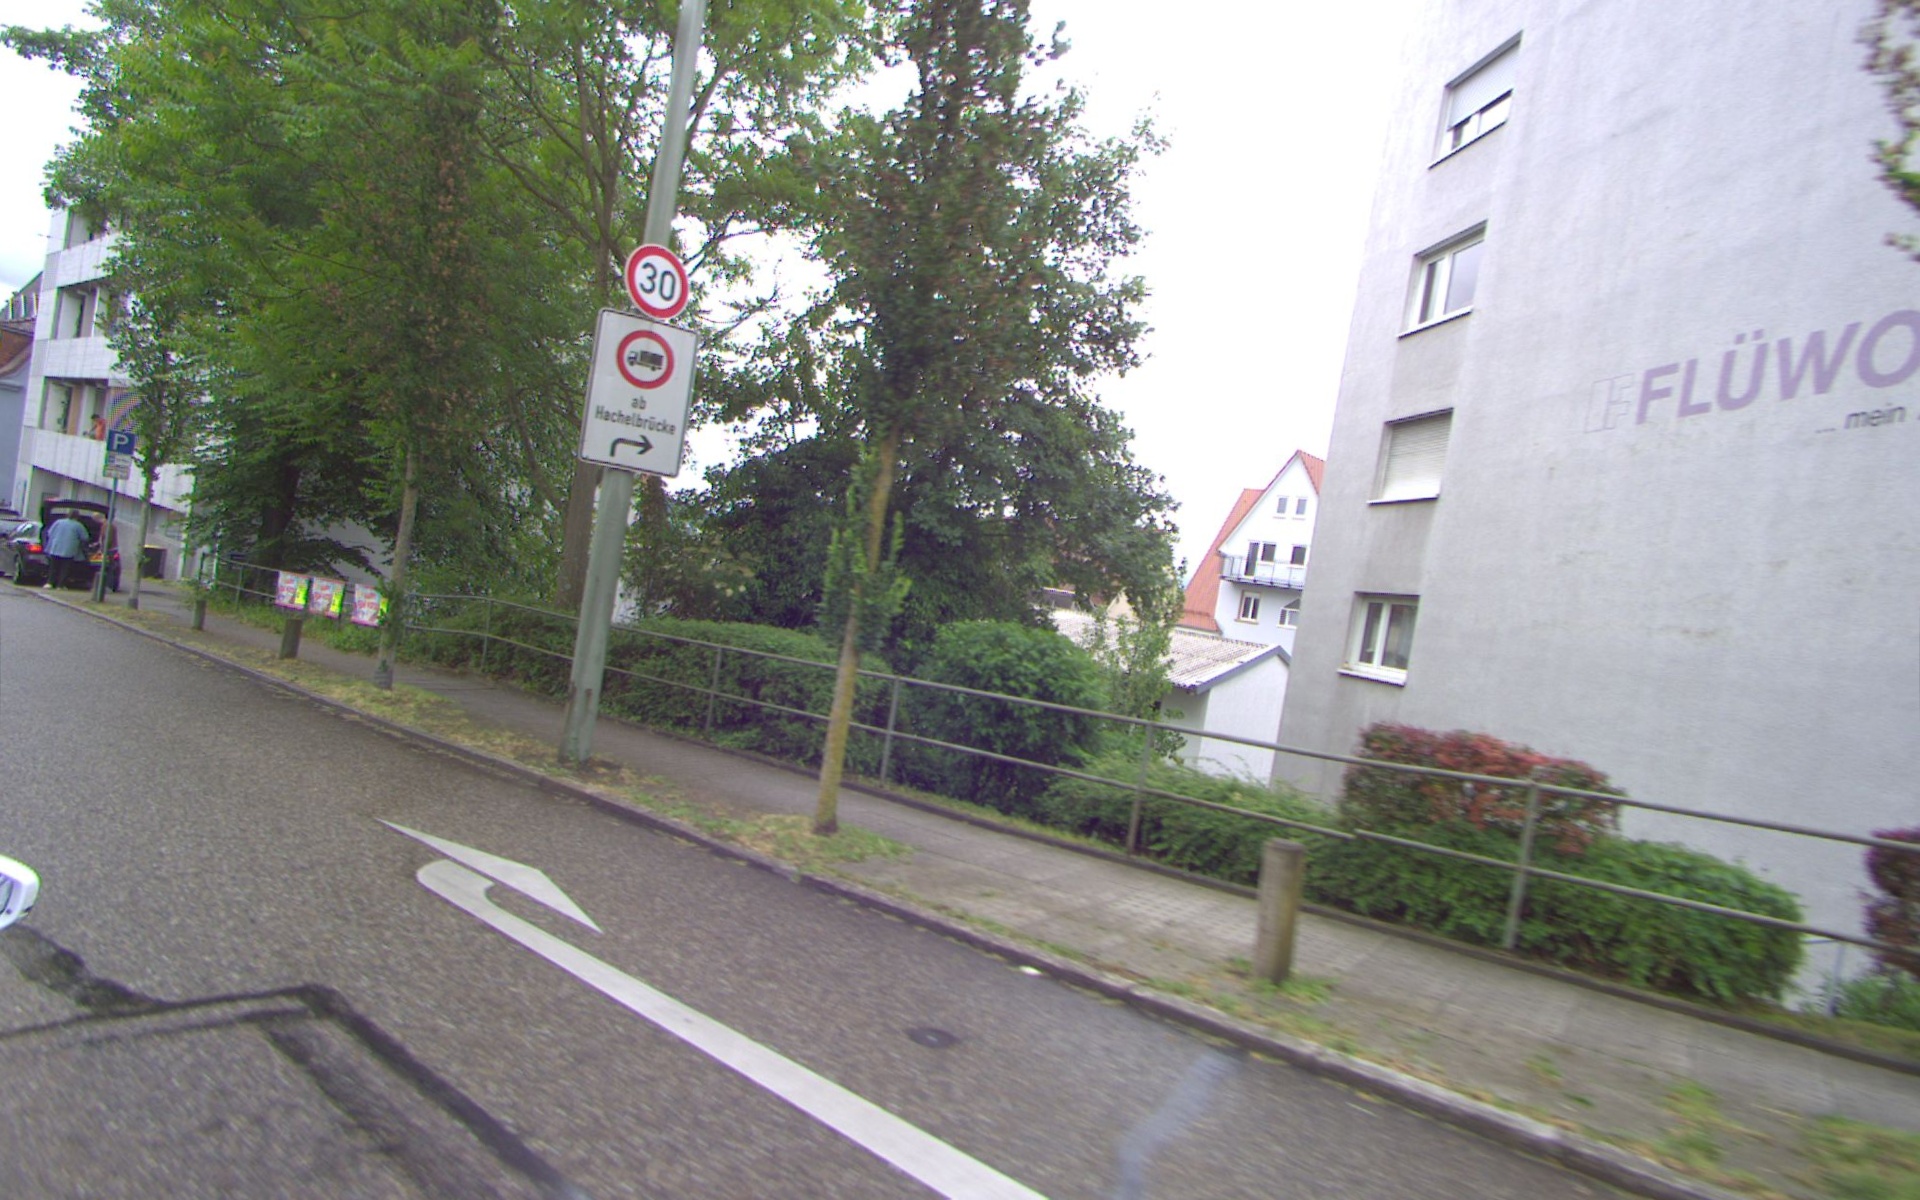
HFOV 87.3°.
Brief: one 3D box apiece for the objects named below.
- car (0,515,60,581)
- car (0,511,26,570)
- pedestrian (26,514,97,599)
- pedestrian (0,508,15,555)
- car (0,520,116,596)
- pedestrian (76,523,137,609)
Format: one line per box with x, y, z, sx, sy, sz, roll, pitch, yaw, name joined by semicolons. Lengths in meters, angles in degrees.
-25.611;-1.481;26.865;3.942;1.482;1.680;7;0;39;car
-29.312;-1.923;29.883;3.942;1.590;1.684;7;0;39;car
-19.562;-0.927;21.916;0.751;1.746;0.737;6;2;5;pedestrian
-37.905;-2.719;39.705;0.534;1.805;0.645;7;-1;39;pedestrian
-21.298;-1.012;23.494;3.940;1.452;1.503;5;-1;37;car
-19.209;-0.752;22.646;0.653;1.860;0.688;6;2;16;pedestrian
